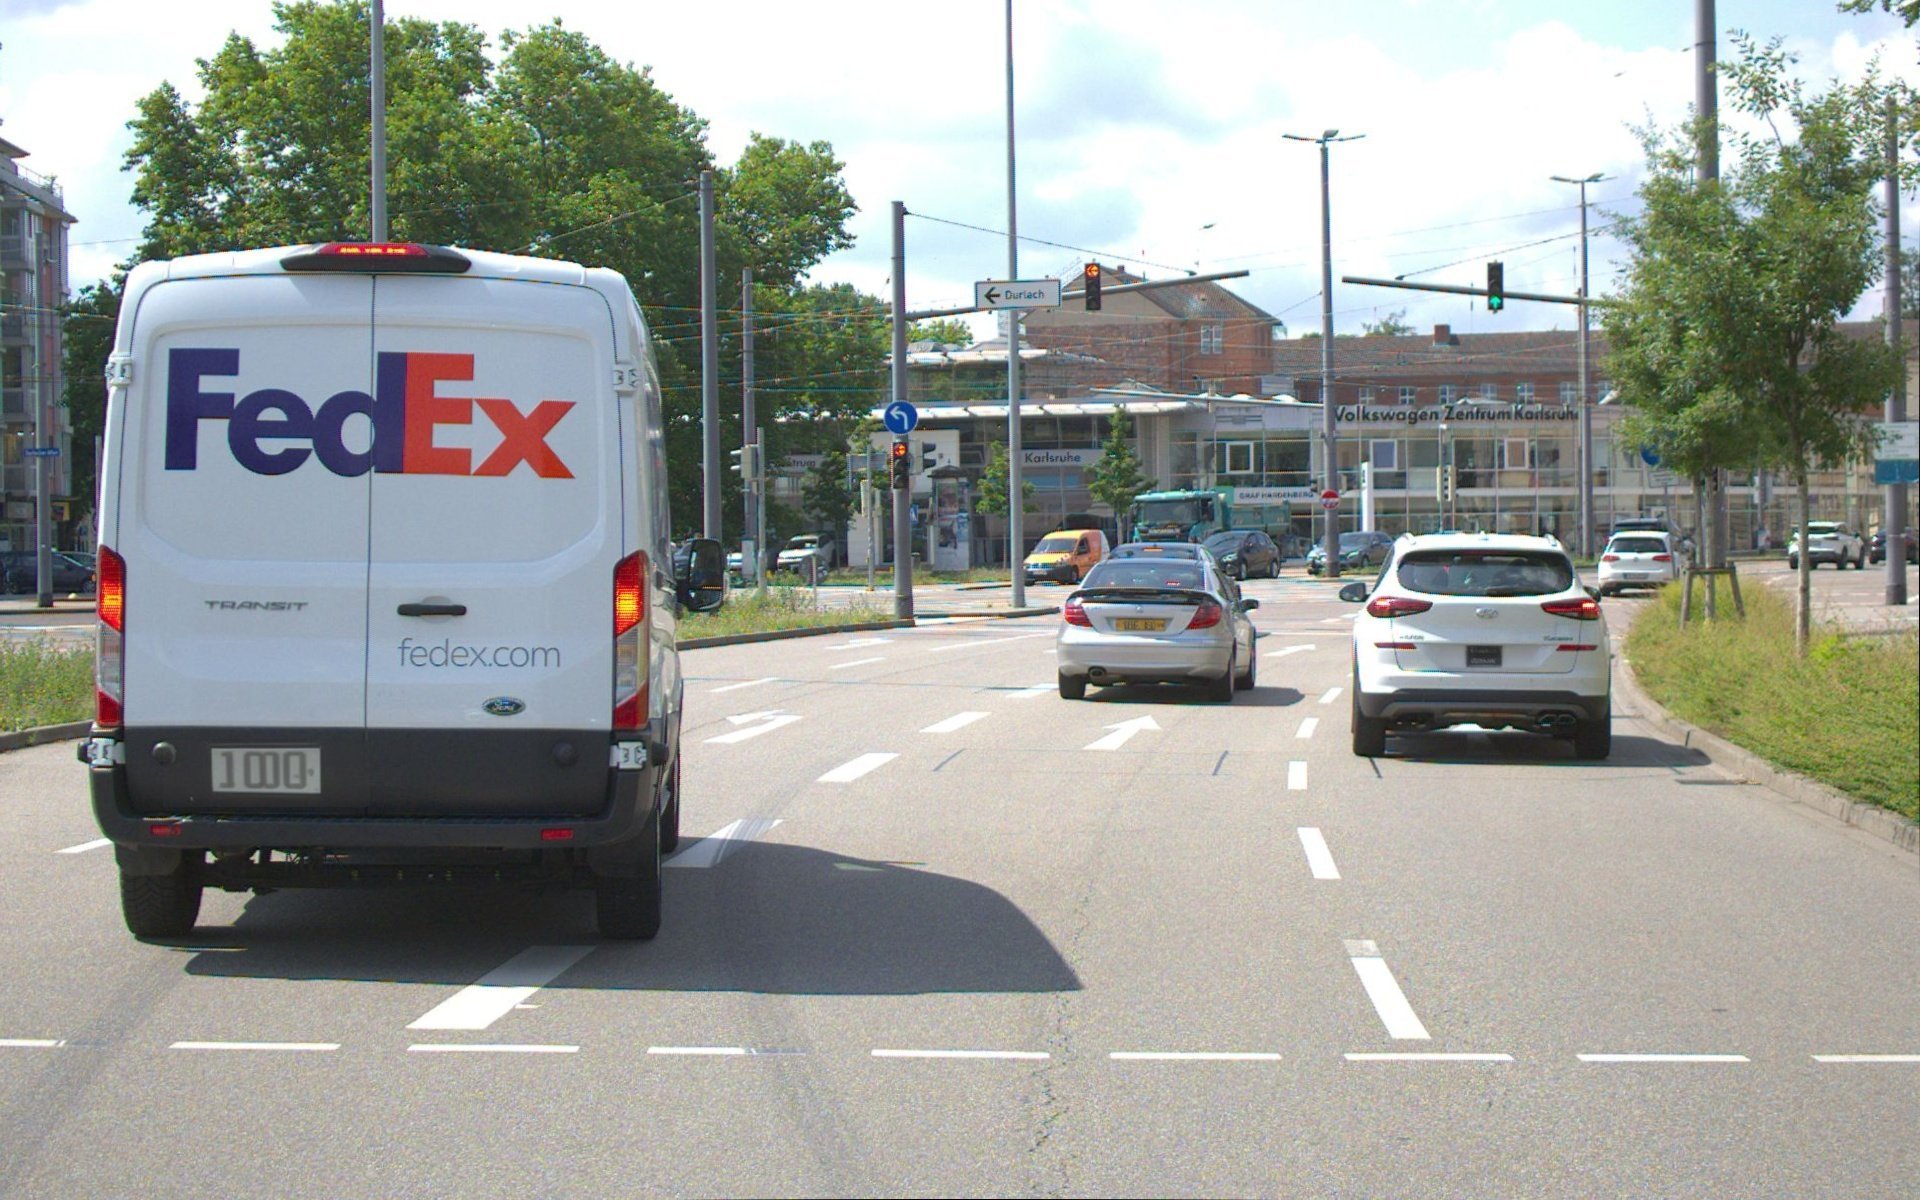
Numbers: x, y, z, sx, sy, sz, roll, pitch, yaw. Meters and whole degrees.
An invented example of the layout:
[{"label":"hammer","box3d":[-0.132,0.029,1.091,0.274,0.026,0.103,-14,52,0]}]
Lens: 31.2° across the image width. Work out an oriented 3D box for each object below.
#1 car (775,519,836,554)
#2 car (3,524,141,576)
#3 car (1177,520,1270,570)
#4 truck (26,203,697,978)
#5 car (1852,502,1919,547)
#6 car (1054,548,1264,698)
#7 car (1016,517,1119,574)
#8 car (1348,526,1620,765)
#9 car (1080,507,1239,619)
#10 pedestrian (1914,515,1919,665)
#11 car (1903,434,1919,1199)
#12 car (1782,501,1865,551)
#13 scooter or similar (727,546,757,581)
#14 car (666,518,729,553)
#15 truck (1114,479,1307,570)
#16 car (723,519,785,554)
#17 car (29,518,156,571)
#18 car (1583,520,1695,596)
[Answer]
[{"label":"car","box3d":[-7.076,-2.902,157.694,1.994,1.568,4.176,1,1,9]},{"label":"car","box3d":[-29.324,-1.658,113.591,4.103,1.659,1.869,0,0,-3]},{"label":"car","box3d":[8.134,-1.691,105.739,1.655,1.464,4.149,0,2,22]},{"label":"truck","box3d":[-2.262,-0.077,14.676,2.136,2.631,5.918,0,1,-3]},{"label":"car","box3d":[34.293,-2.805,127.303,1.883,1.635,3.953,0,2,23]},{"label":"car","box3d":[2.065,0.188,34.691,1.742,1.387,4.178,-1,1,8]},{"label":"car","box3d":[3.610,-1.828,114.518,1.720,1.794,4.734,-1,1,24]},{"label":"car","box3d":[3.936,0.281,26.403,1.881,1.635,4.232,0,2,6]},{"label":"car","box3d":[3.157,-0.606,53.579,1.929,1.635,4.791,0,2,10]},{"label":"pedestrian","box3d":[10.593,-0.106,36.632,0.756,1.584,0.761,1,0,11]},{"label":"car","box3d":[2.833,0.572,4.836,1.794,1.717,4.448,0,1,0]},{"label":"car","box3d":[29.301,-2.523,116.579,1.884,1.635,3.951,0,2,27]},{"label":"scooter or similar","box3d":[-6.861,-1.144,108.179,0.378,1.112,1.093,1,0,31]},{"label":"car","box3d":[-12.124,-2.960,158.857,1.994,1.568,4.176,1,1,9]},{"label":"truck","box3d":[8.273,-2.509,112.311,2.890,2.842,8.779,0,2,29]},{"label":"car","box3d":[-9.495,-2.930,158.402,1.994,1.568,4.176,1,1,9]},{"label":"car","box3d":[-31.129,-1.974,123.458,4.097,1.852,1.984,0,0,-4]},{"label":"car","box3d":[15.417,-0.971,77.950,1.883,1.635,3.953,0,2,20]}]
